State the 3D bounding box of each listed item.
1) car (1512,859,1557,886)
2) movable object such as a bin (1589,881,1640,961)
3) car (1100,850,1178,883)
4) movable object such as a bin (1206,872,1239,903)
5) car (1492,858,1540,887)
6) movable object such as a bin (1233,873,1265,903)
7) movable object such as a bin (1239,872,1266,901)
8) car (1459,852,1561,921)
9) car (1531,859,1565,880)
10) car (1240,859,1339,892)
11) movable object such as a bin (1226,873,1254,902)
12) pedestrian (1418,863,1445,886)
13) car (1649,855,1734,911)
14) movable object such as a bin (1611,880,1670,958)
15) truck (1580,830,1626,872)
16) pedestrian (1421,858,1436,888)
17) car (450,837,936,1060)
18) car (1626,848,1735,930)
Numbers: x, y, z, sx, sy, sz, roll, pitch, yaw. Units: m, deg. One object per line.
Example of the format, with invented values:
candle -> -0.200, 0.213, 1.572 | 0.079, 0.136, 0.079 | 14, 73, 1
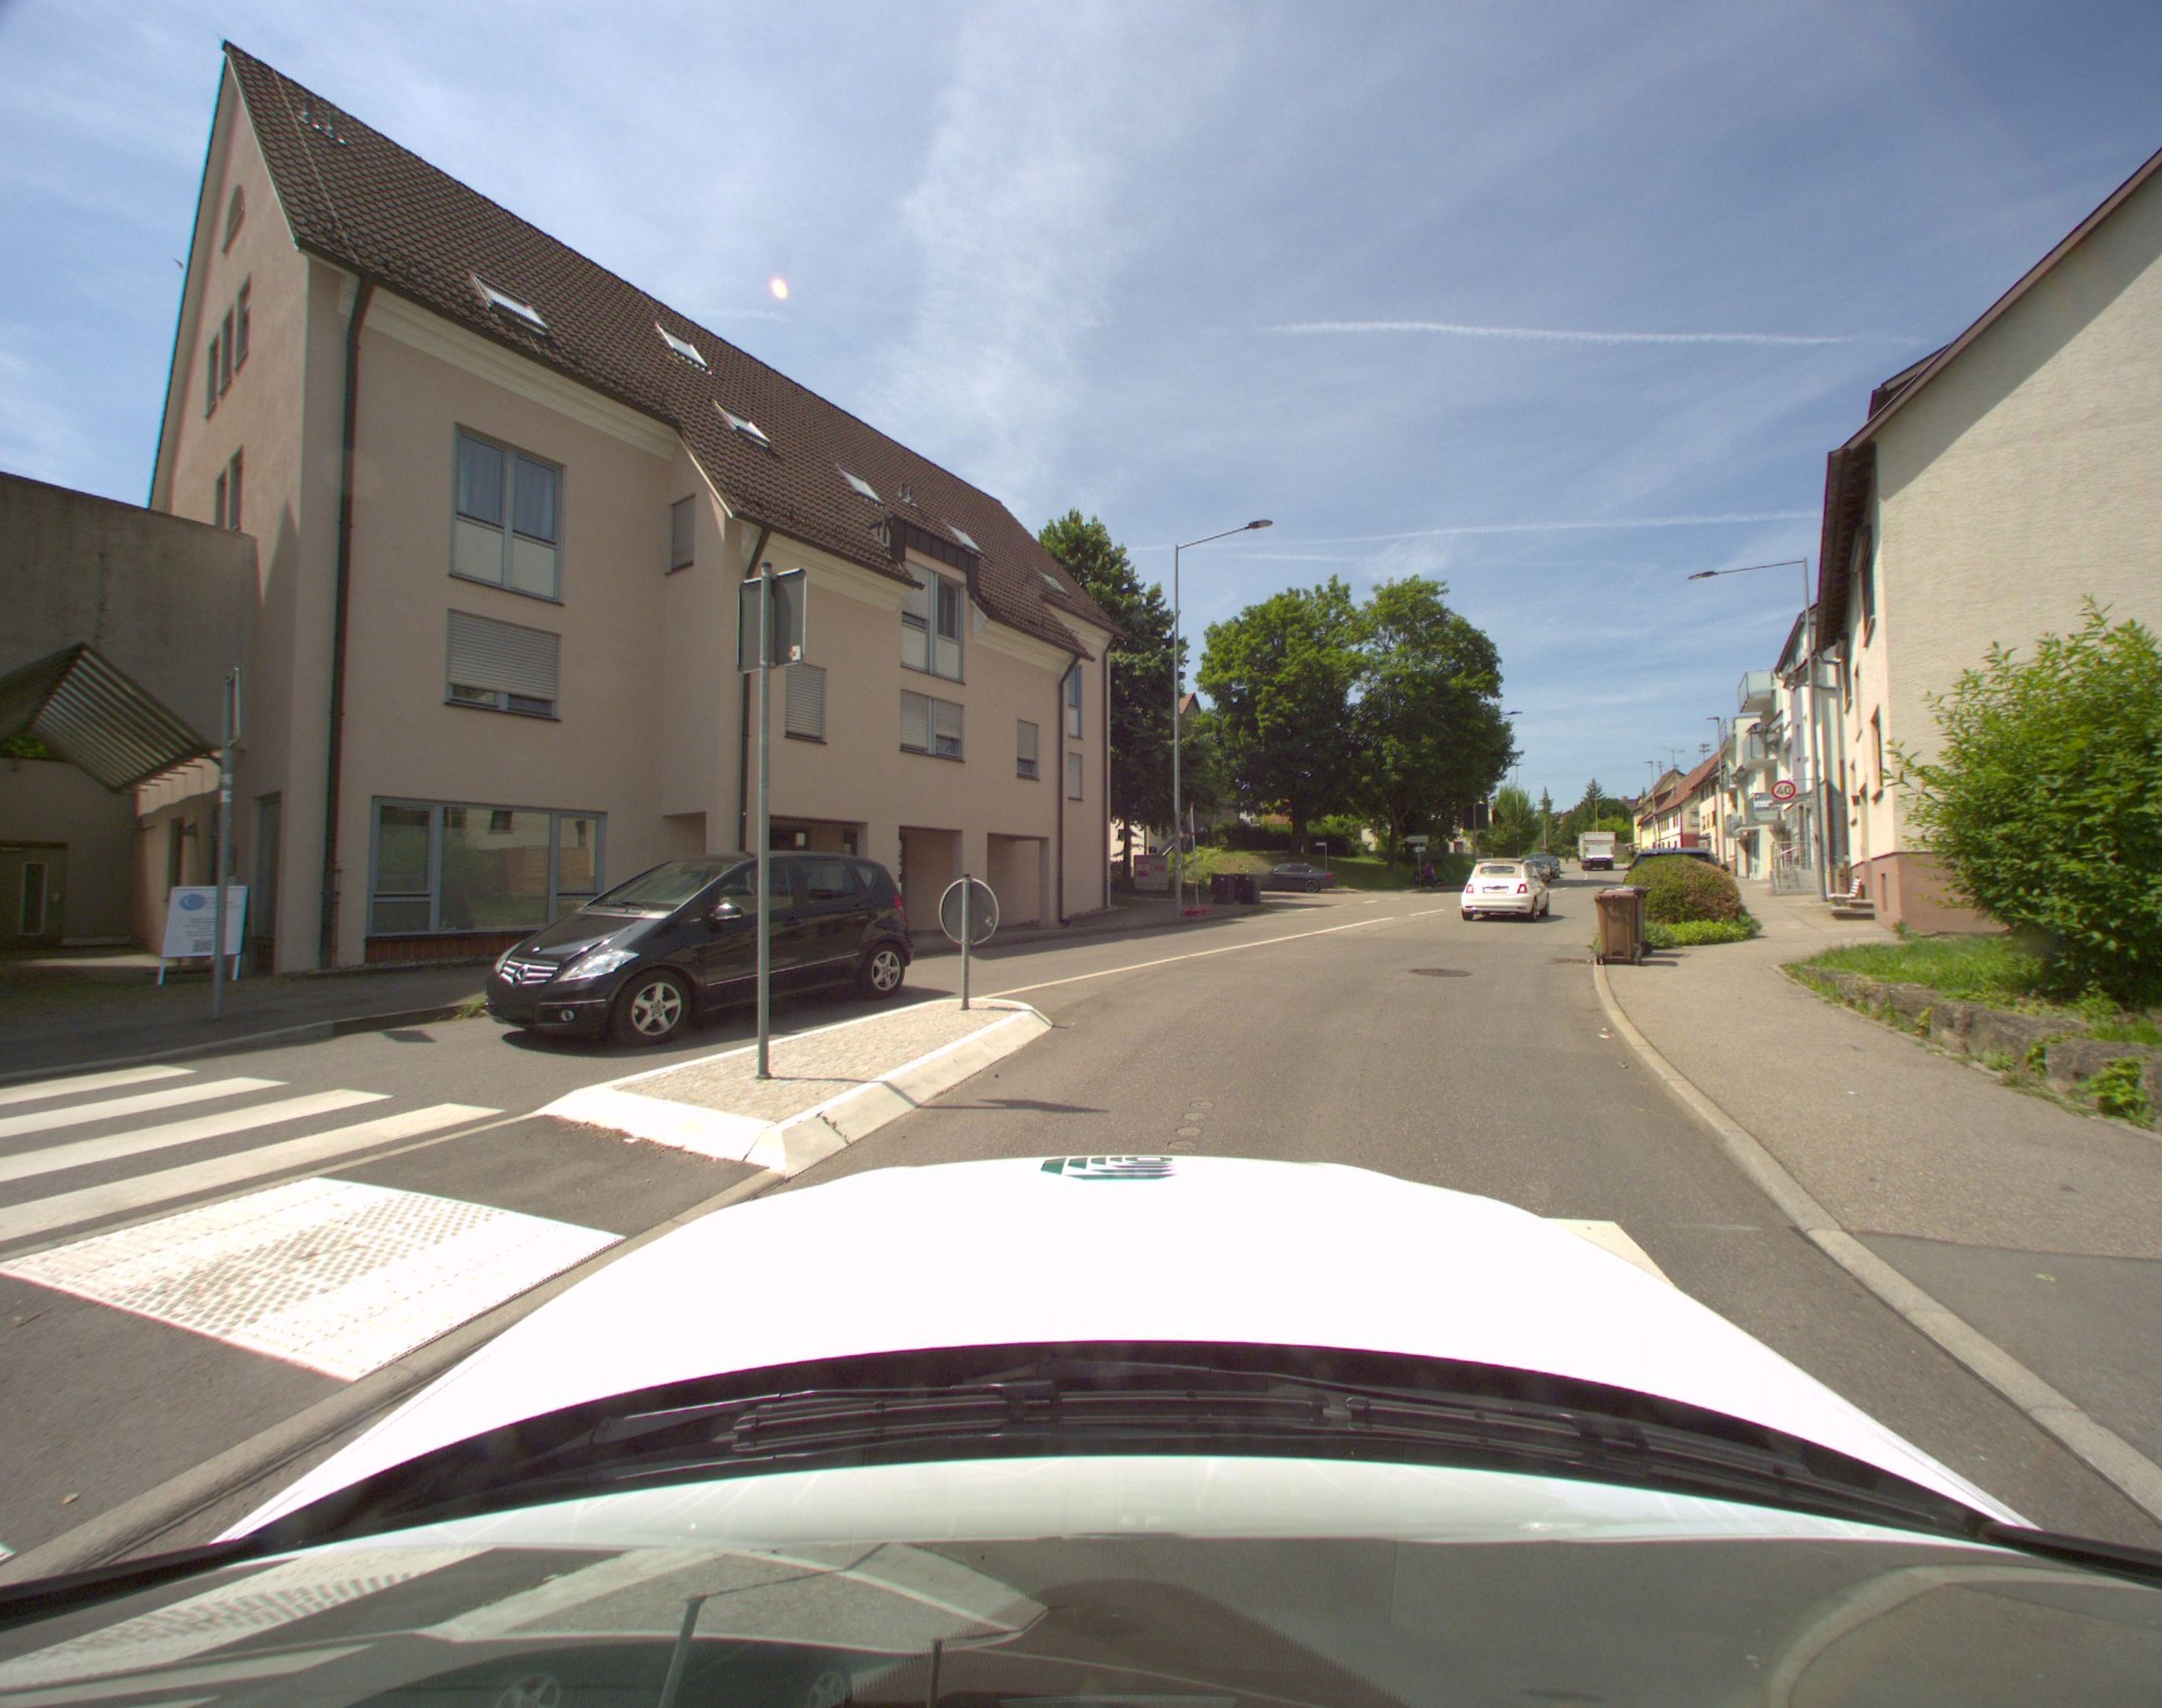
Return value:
car -> 28.701, 1.141, 51.442 | 1.755, 1.527, 4.248 | -5, -3, 38
movable object such as a bin -> 6.883, 0.850, 10.522 | 0.495, 0.993, 0.507 | -1, -1, 29
car -> 3.237, 0.666, 45.635 | 3.950, 1.683, 1.921 | 2, 1, 41
movable object such as a bin -> 4.802, 1.138, 27.645 | 0.793, 1.000, 0.810 | 0, 0, 40
car -> 24.993, 1.042, 46.748 | 1.737, 1.467, 4.390 | -5, -3, 36
movable object such as a bin -> 5.769, 1.145, 27.942 | 0.843, 1.000, 0.698 | -2, -2, 39
movable object such as a bin -> 6.384, 1.208, 30.331 | 0.764, 1.000, 0.613 | 3, -1, 40
car -> 10.959, 0.780, 20.662 | 1.708, 1.560, 4.025 | -2, -2, 36
car -> 35.088, 1.153, 61.192 | 1.787, 1.424, 4.959 | -4, -1, 34
car -> 10.736, 1.102, 41.952 | 4.737, 1.479, 2.009 | 2, 0, 19
movable object such as a bin -> 5.833, 1.226, 29.926 | 0.764, 1.000, 0.613 | 3, -1, 40
pedestrian -> 19.790, 1.168, 45.987 | 1.224, 1.269, 0.650 | -1, -1, 41
car -> 17.630, 0.789, 23.508 | 1.771, 1.420, 4.385 | -3, -1, 38
movable object such as a bin -> 7.591, 0.861, 11.050 | 0.504, 0.993, 0.520 | -1, 0, -39
truck -> 50.601, -0.240, 79.132 | 3.039, 3.774, 7.915 | -3, -2, 29
pedestrian -> 18.975, 1.011, 44.453 | 0.724, 1.617, 0.632 | -1, -1, 20
car -> -3.408, 0.701, 7.946 | 1.735, 1.584, 3.969 | -1, -1, 31
car -> 14.026, 0.755, 19.029 | 1.825, 1.670, 4.685 | -1, -1, 38
